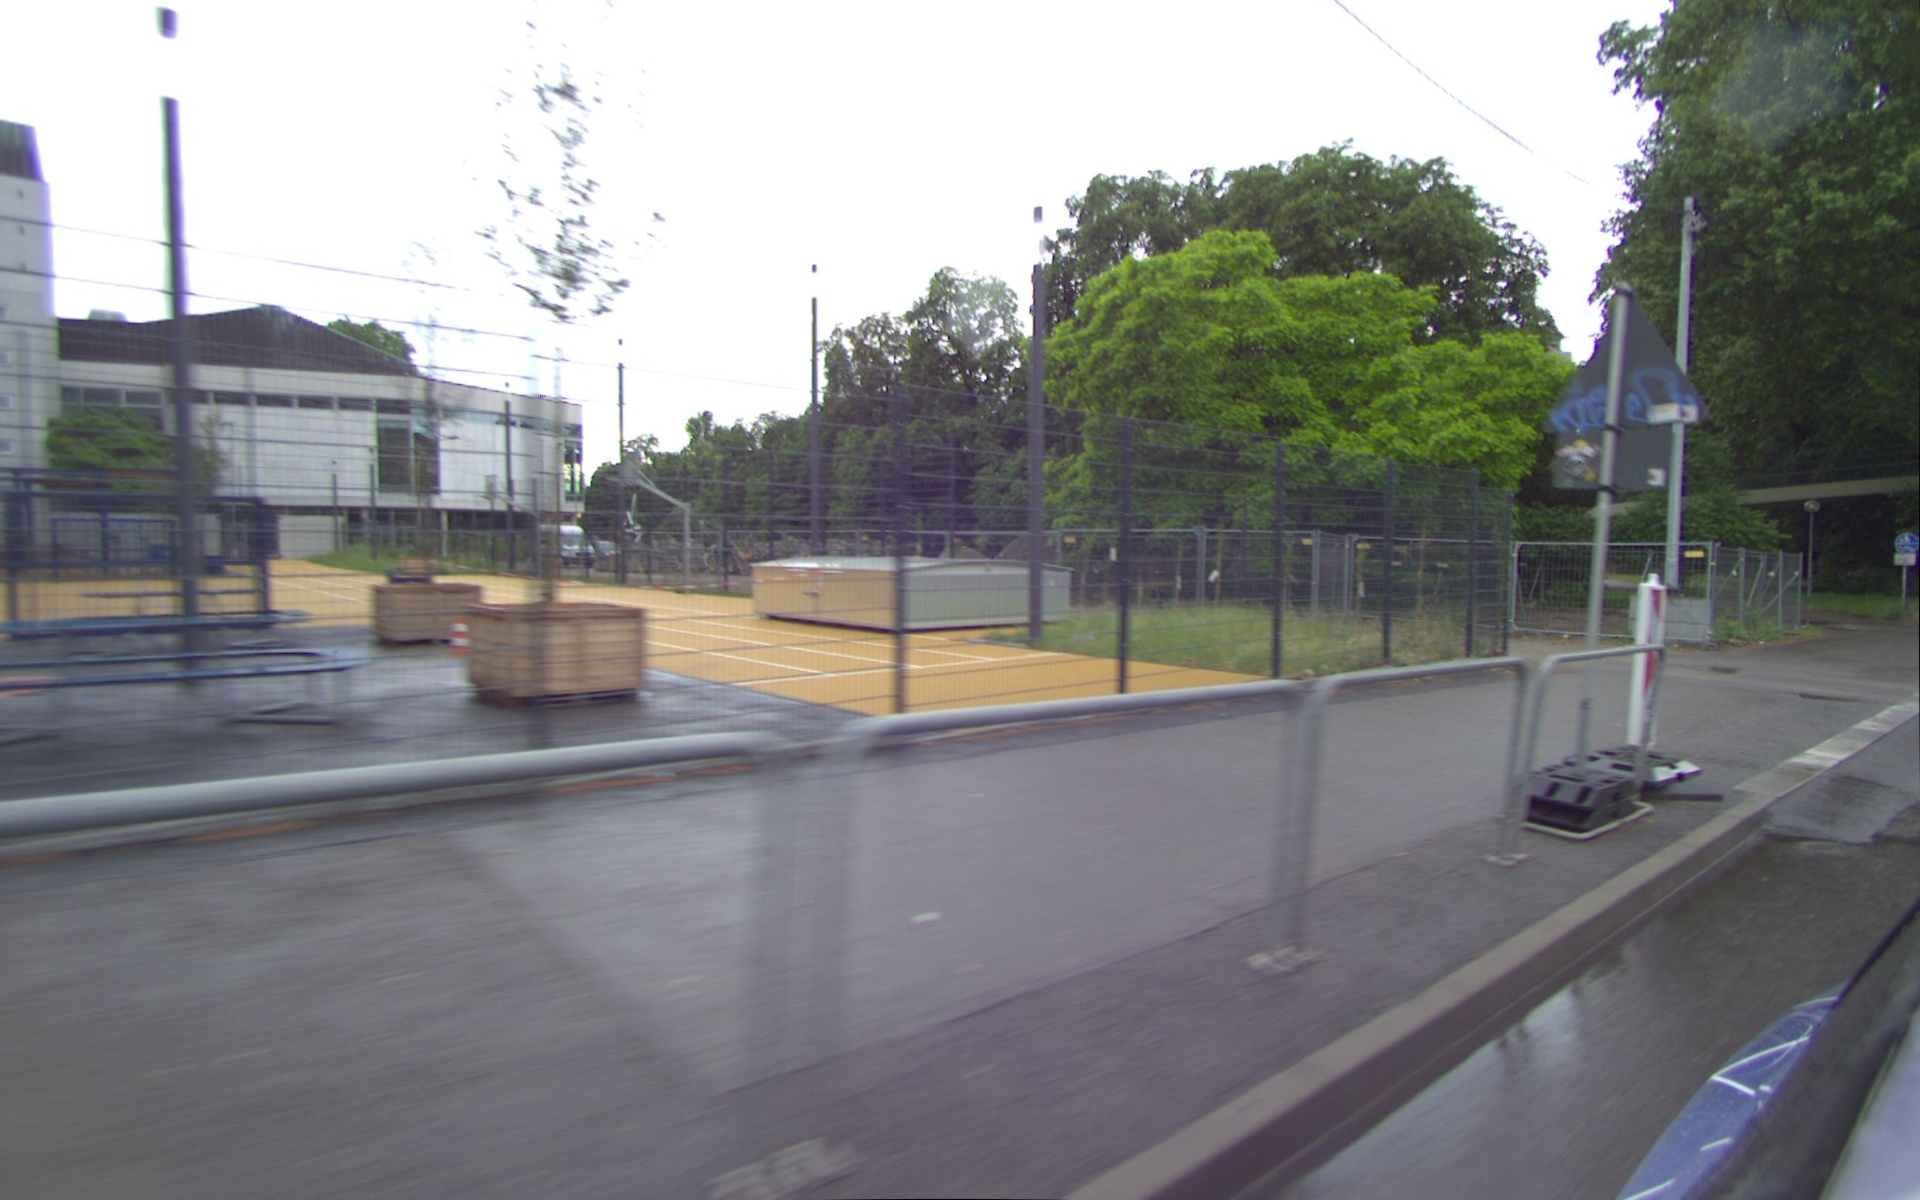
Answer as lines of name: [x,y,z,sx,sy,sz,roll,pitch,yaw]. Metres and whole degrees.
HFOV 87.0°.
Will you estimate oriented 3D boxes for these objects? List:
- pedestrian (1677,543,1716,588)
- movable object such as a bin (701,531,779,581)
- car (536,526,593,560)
pedestrian: [33.642,-1.595,46.252,1.036,2.038,1.035,1,2,12]
movable object such as a bin: [-12.611,-2.571,57.810,2.453,2.677,4.572,-3,5,-41]
car: [-24.813,-3.578,63.430,1.968,2.037,3.991,-4,5,-44]
